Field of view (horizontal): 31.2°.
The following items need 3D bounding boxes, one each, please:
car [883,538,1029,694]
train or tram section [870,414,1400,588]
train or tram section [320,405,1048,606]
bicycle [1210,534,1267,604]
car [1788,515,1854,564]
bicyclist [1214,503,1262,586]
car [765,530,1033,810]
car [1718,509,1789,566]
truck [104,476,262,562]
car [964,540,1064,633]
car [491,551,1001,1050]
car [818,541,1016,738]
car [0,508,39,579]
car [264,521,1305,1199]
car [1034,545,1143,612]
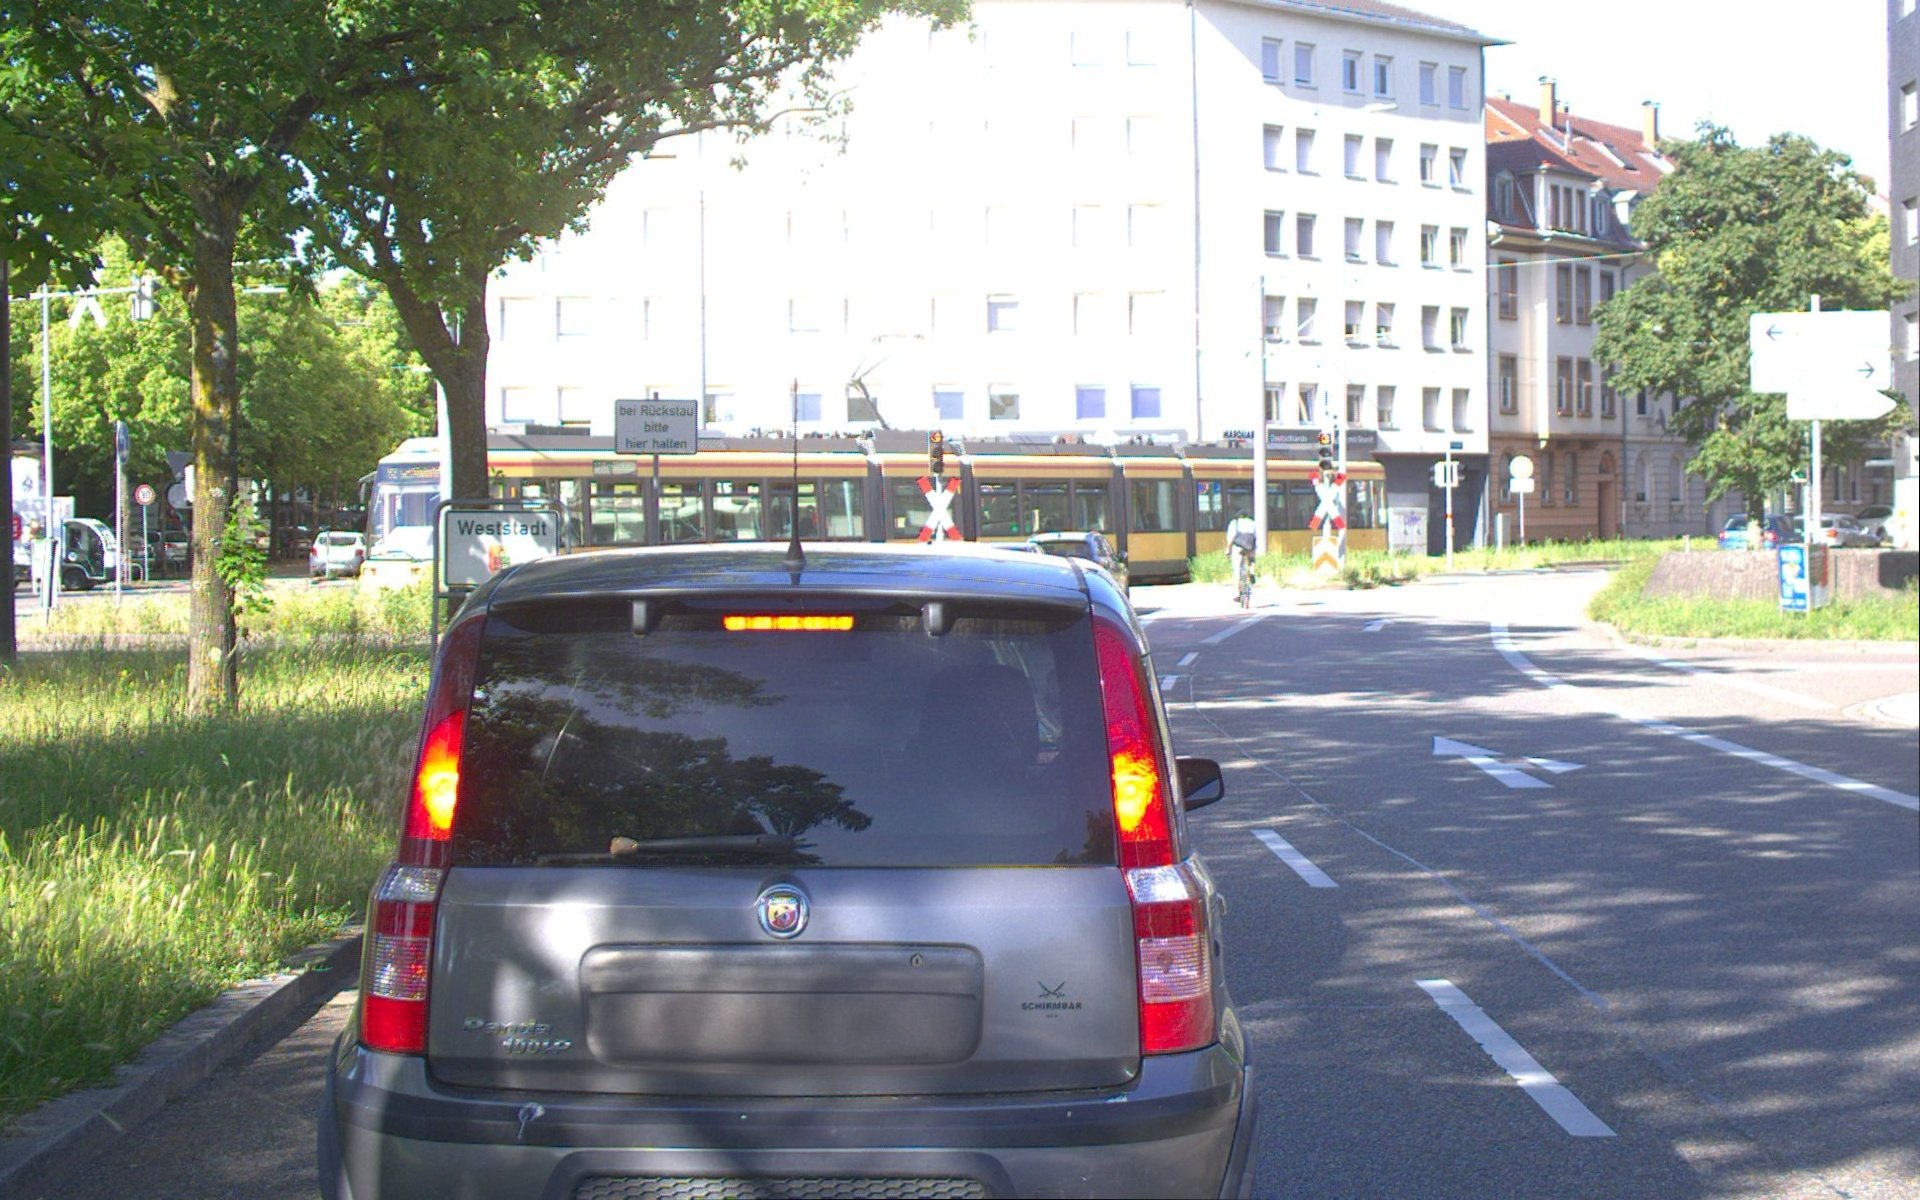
[{"bbox_3d":[-0.057,0.119,33.868,1.356,1.444,3.266,-1,1,-1],"label":"car"},{"bbox_3d":[4.899,-2.408,84.039,3.301,3.757,20.773,0,2,32],"label":"train or tram section"},{"bbox_3d":[-4.764,-1.905,68.874,3.302,3.501,19.348,0,2,33],"label":"train or tram section"},{"bbox_3d":[4.888,-0.542,60.413,0.708,1.194,2.520,1,1,-2],"label":"bicycle"},{"bbox_3d":[23.559,-1.662,94.023,1.528,1.310,3.285,0,1,18],"label":"car"},{"bbox_3d":[4.870,-0.966,60.263,0.741,1.433,0.845,1,0,-2],"label":"bicyclist"},{"bbox_3d":[-0.356,0.352,20.684,1.463,1.503,3.505,0,2,-1],"label":"car"},{"bbox_3d":[20.883,-1.658,90.395,1.683,1.444,3.569,0,1,15],"label":"car"},{"bbox_3d":[-28.879,-2.994,127.778,5.485,3.158,2.340,0,1,28],"label":"truck"},{"bbox_3d":[0.752,-0.214,49.600,1.356,1.277,2.876,0,1,-1],"label":"car"},{"bbox_3d":[-0.638,0.556,11.645,1.463,1.396,3.393,0,1,-1],"label":"car"},{"bbox_3d":[-0.342,0.264,27.301,1.463,1.420,3.381,0,2,-1],"label":"car"},{"bbox_3d":[-28.579,-1.601,97.974,4.176,2.007,1.932,-1,1,-2],"label":"car"},{"bbox_3d":[-0.295,0.593,7.423,1.628,1.503,4.000,-1,1,-1],"label":"car"},{"bbox_3d":[2.174,-0.371,57.675,1.143,1.060,2.719,0,1,17],"label":"car"}]
